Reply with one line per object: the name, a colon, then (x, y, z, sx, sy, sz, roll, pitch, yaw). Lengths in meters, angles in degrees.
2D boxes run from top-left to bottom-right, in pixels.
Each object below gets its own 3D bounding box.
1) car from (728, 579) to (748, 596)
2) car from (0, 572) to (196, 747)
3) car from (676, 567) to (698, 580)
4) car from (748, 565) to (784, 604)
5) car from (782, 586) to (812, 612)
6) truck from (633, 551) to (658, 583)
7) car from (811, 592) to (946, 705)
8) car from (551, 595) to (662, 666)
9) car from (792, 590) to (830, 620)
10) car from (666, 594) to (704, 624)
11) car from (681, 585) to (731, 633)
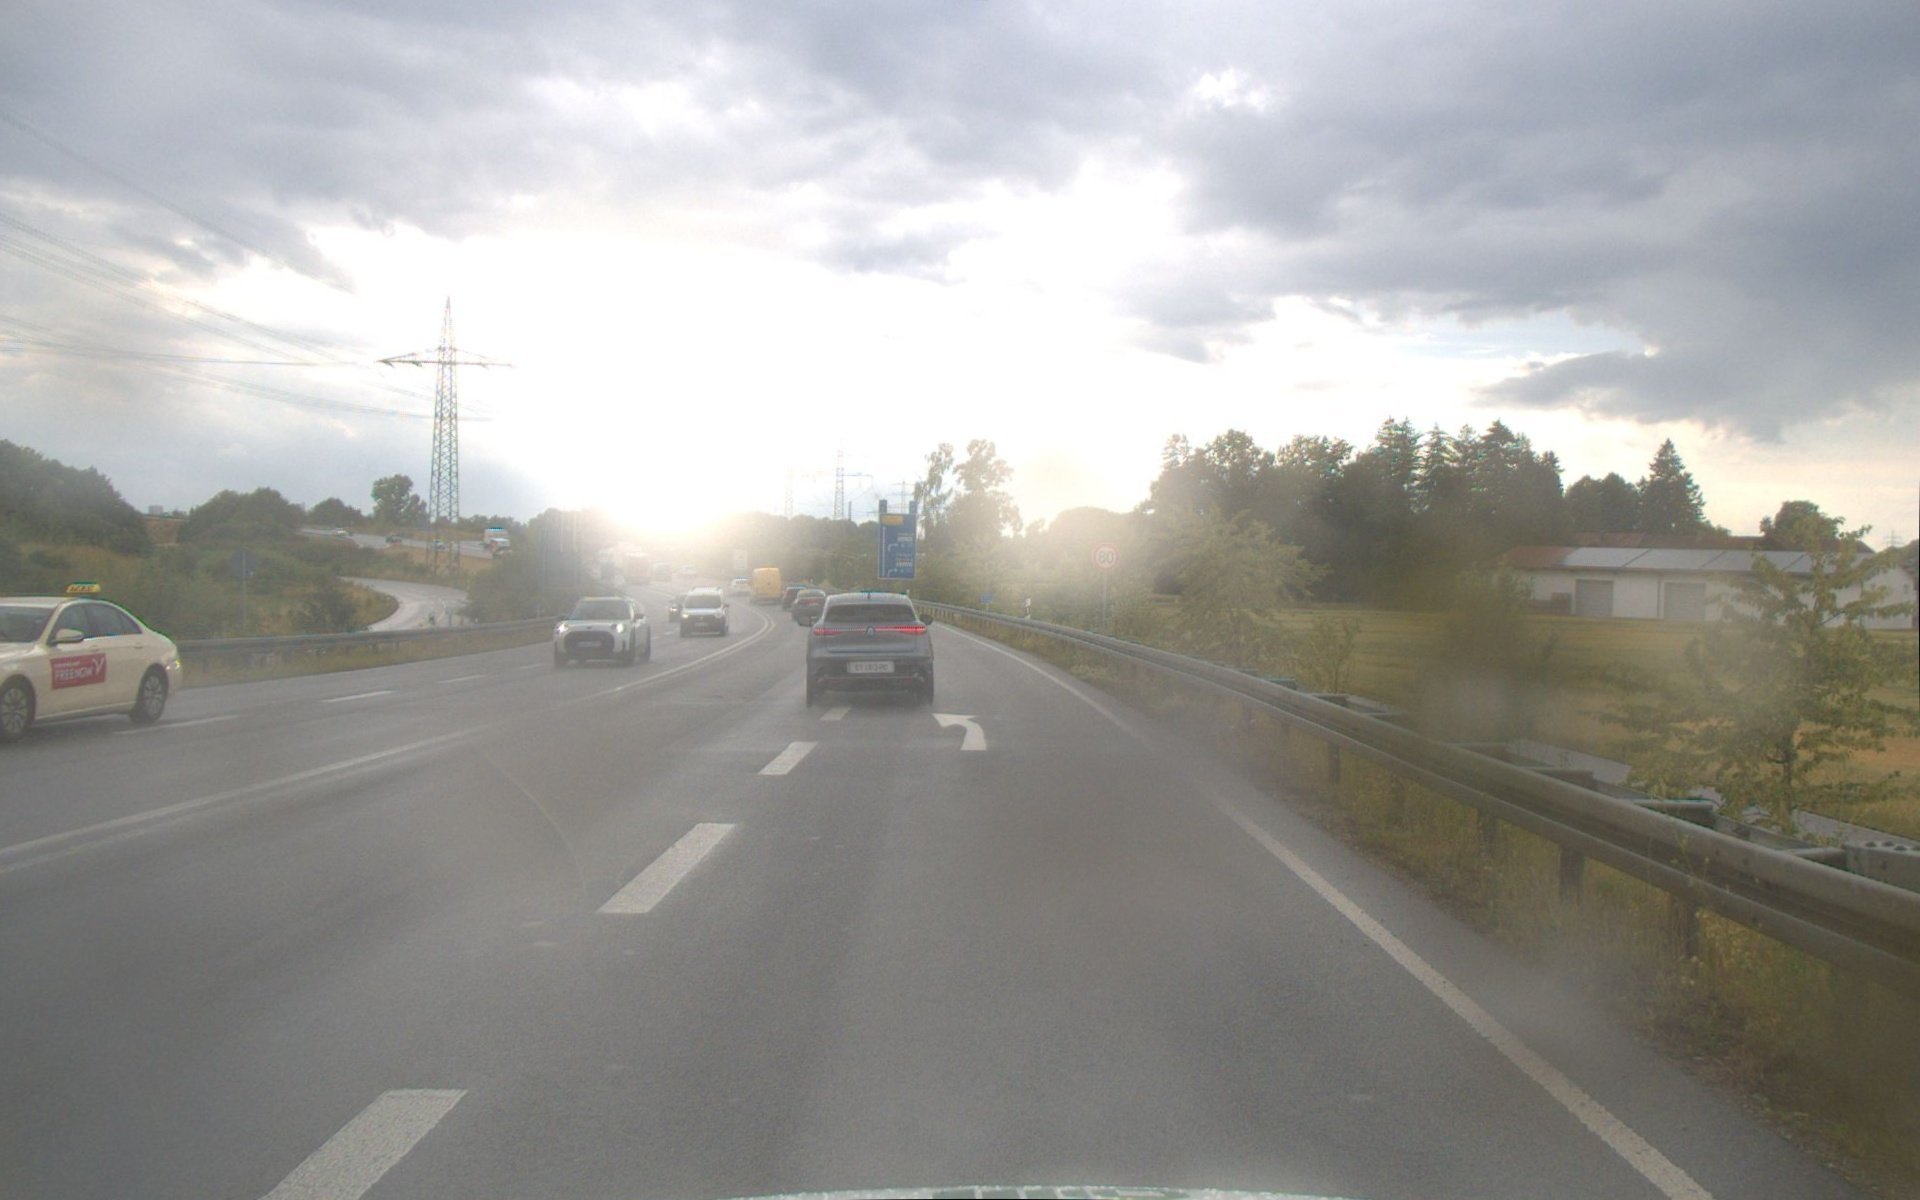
car: (-19.351, -1.086, 144.113, 1.758, 1.466, 3.992, 0, 0, -8)
car: (-10.281, 0.556, 17.974, 1.904, 1.689, 4.644, 1, 0, -2)
car: (-33.253, -3.204, 201.392, 1.766, 1.466, 3.974, 3, 0, -22)
car: (-14.268, -1.138, 121.446, 2.524, 2.773, 7.185, 0, 0, -7)
car: (-10.091, -0.068, 102.003, 1.757, 1.568, 3.994, 1, 0, -7)
truck: (-35.154, -3.732, 184.783, 2.437, 3.349, 7.262, 4, 1, -11)
car: (-1.195, 0.628, 23.695, 1.756, 1.466, 3.997, 0, 0, -4)
car: (-8.072, 0.663, 38.116, 1.731, 1.526, 4.209, 0, 0, -1)
car: (-7.551, 0.221, 83.552, 1.757, 1.466, 3.994, 1, 0, -7)
car: (-14.378, 0.462, 86.483, 1.861, 1.466, 4.890, 2, 0, -9)
car: (-9.767, 0.310, 63.306, 1.757, 1.695, 4.360, 3, 0, -10)
